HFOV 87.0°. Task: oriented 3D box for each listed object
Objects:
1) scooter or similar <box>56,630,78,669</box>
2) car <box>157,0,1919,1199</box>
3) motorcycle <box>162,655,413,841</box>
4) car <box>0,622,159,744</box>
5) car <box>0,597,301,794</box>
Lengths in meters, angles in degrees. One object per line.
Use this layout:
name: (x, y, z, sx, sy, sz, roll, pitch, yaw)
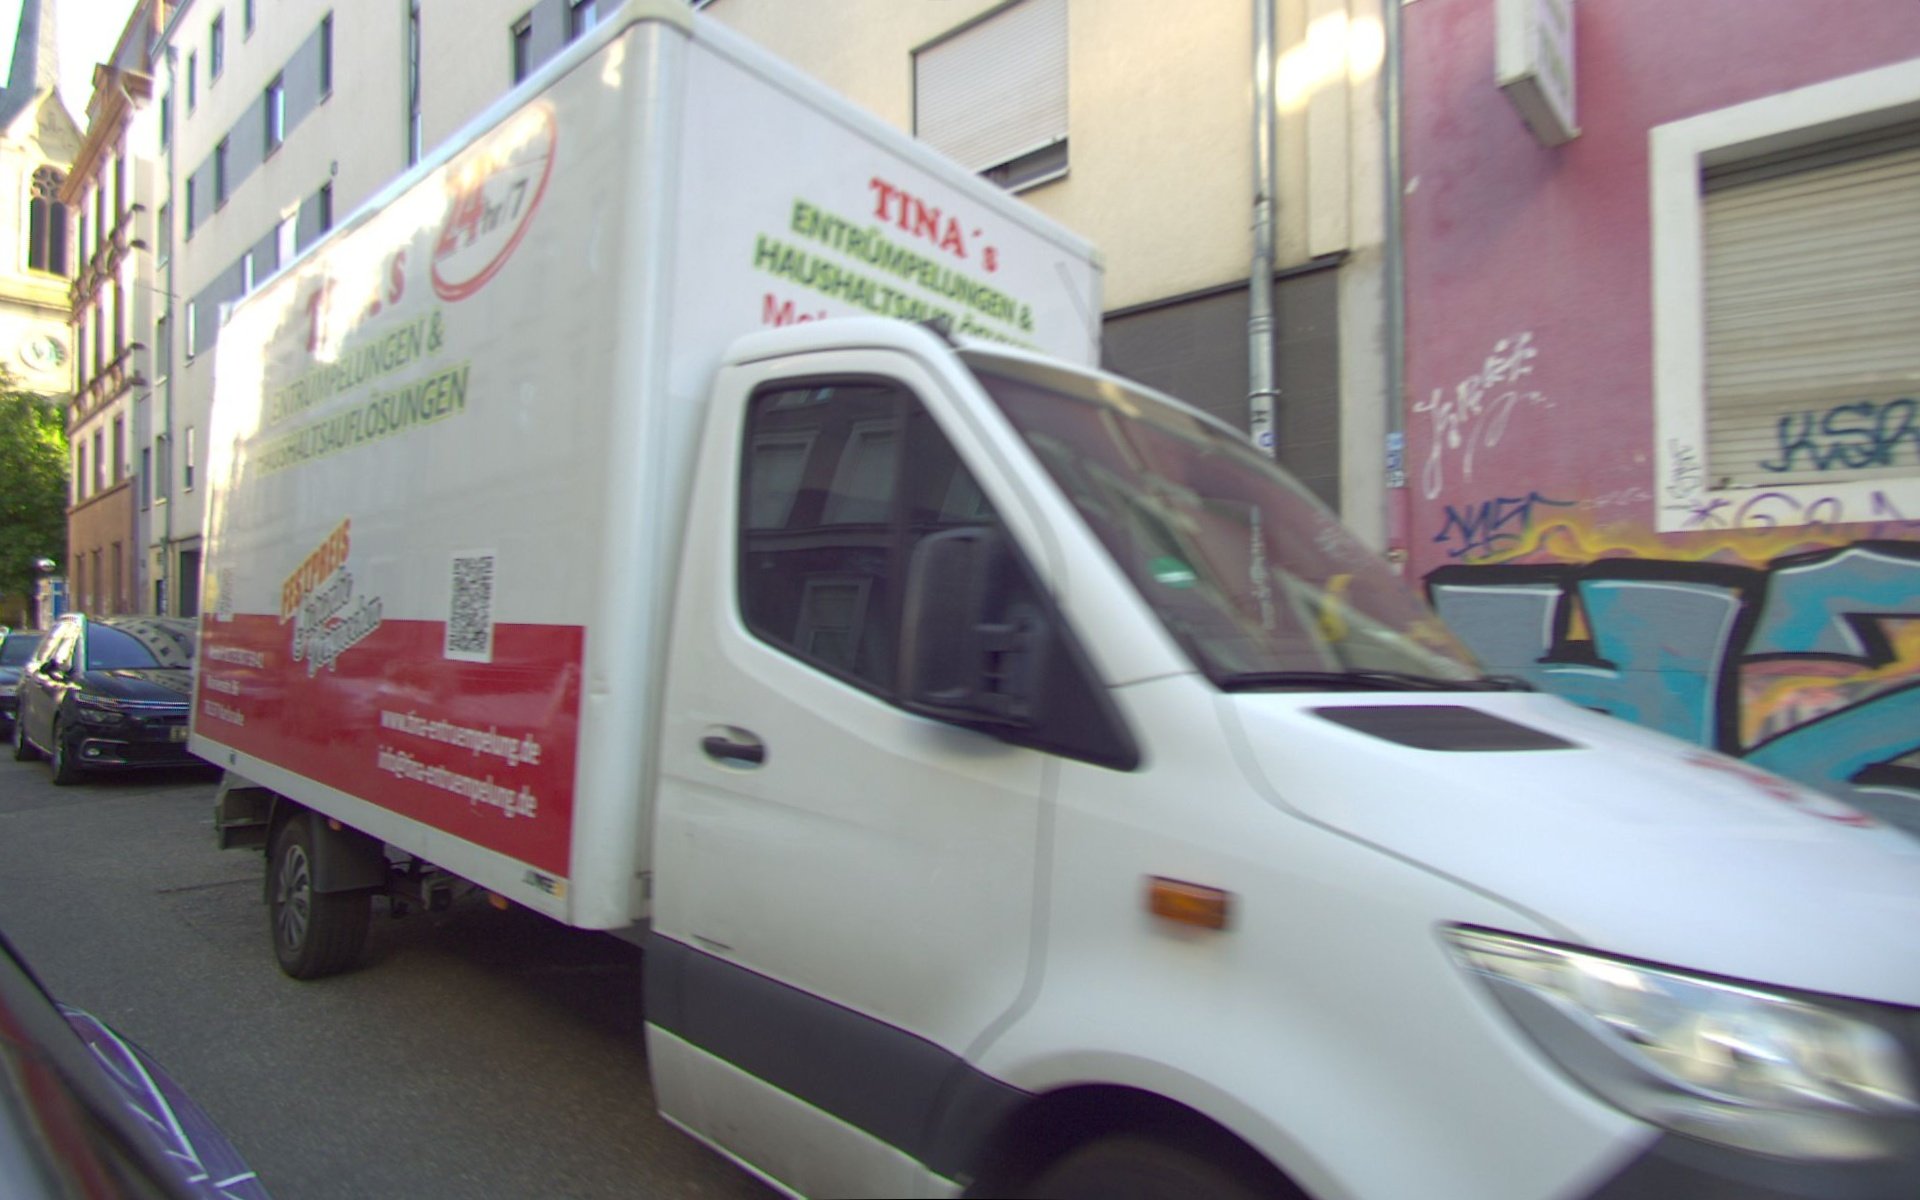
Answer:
scooter or similar: (-28.573, 1.574, 32.377, 1.391, 1.225, 0.344, -1, 0, 41)
car: (-0.784, -0.088, 3.901, 7.152, 3.316, 2.318, -1, -3, 42)
motorcycle: (-5.222, 1.080, 8.070, 0.779, 1.262, 2.110, 1, -3, -8)
car: (-13.026, 1.128, 14.372, 4.496, 1.490, 1.699, -3, -5, 41)
car: (-8.633, 0.924, 10.612, 4.243, 1.663, 1.699, -3, -5, 41)
